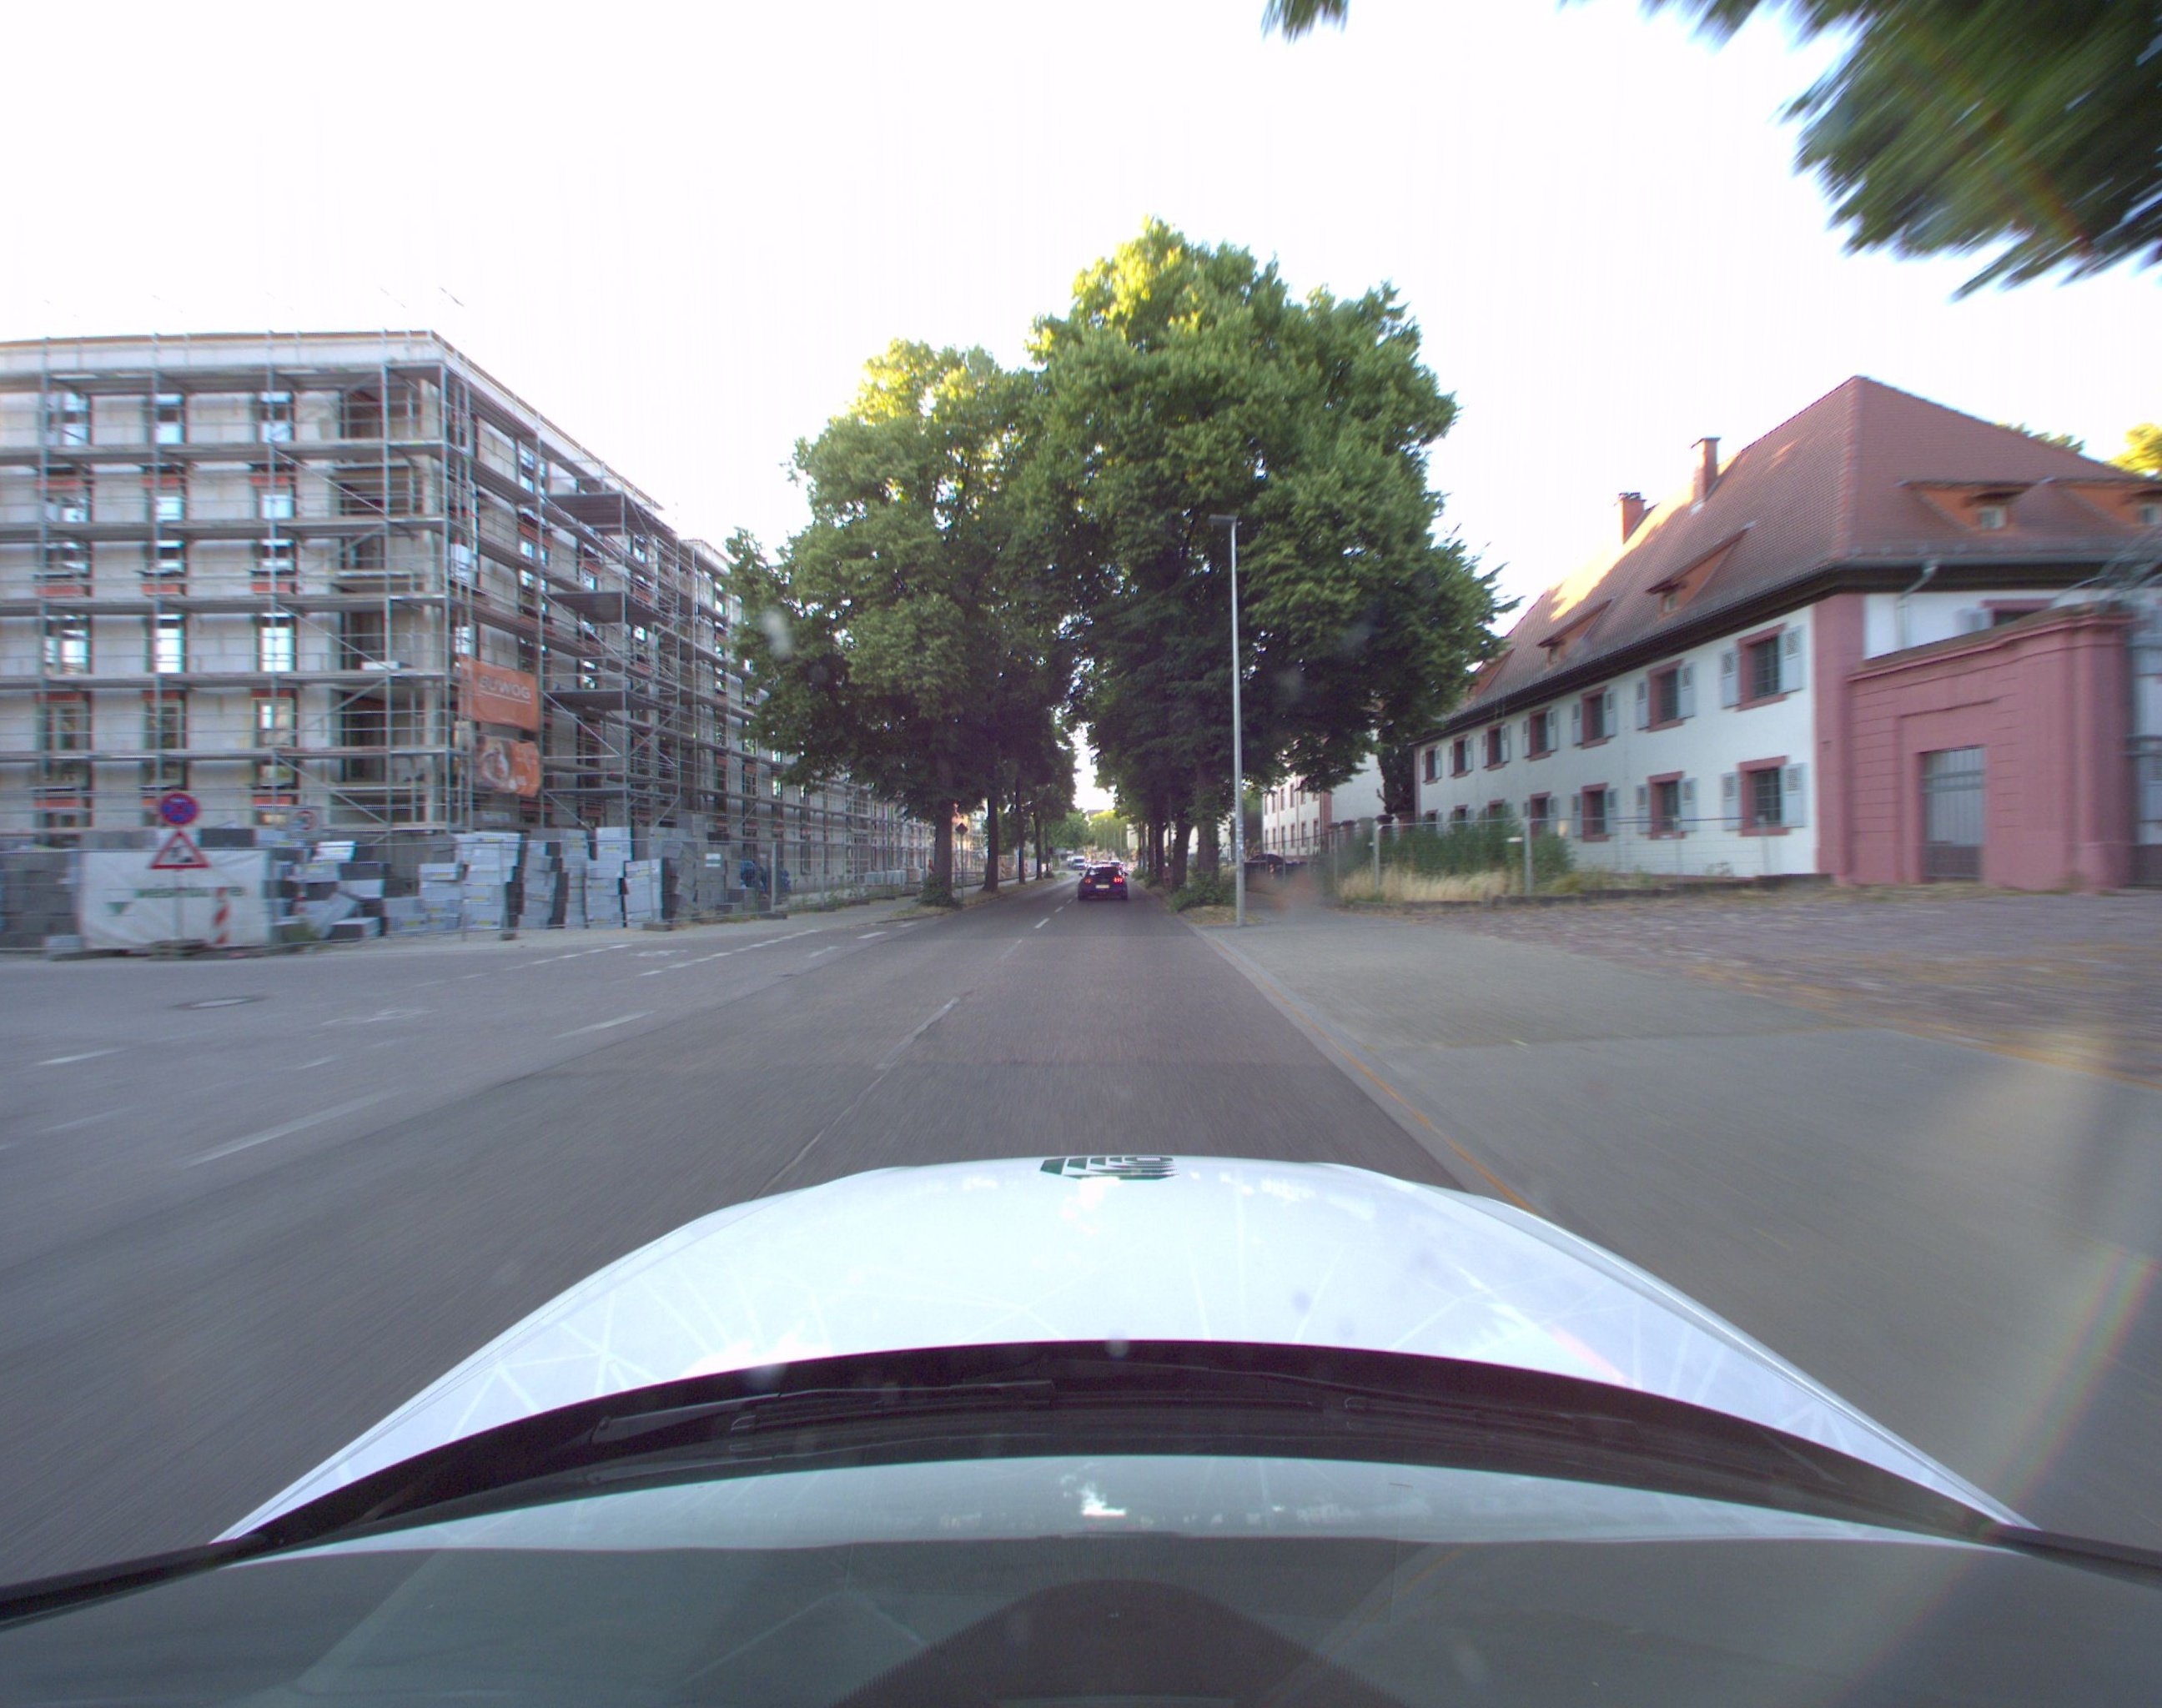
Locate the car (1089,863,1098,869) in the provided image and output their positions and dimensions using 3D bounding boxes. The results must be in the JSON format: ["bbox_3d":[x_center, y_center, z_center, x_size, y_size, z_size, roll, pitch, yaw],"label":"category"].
[{"bbox_3d":[3.071,3.001,201.125,1.939,1.326,4.002,1,0,2],"label":"car"}]

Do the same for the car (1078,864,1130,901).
[{"bbox_3d":[0.924,1.105,32.597,1.939,1.326,4.002,1,0,2],"label":"car"}]

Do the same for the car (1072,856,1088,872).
[{"bbox_3d":[-0.219,1.781,141.413,2.485,2.697,5.826,-1,0,-1],"label":"car"}]

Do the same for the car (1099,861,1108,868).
[{"bbox_3d":[4.623,2.157,167.953,1.939,1.326,4.002,1,0,2],"label":"car"}]

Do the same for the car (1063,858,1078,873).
[{"bbox_3d":[-1.663,1.788,129.812,2.330,2.198,5.305,-1,0,-1],"label":"car"}]

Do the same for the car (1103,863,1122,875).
[{"bbox_3d":[3.650,1.685,93.910,1.938,1.326,4.004,1,0,4],"label":"car"}]

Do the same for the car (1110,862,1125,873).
[{"bbox_3d":[4.941,1.830,110.663,1.939,1.326,4.002,1,0,2],"label":"car"}]
